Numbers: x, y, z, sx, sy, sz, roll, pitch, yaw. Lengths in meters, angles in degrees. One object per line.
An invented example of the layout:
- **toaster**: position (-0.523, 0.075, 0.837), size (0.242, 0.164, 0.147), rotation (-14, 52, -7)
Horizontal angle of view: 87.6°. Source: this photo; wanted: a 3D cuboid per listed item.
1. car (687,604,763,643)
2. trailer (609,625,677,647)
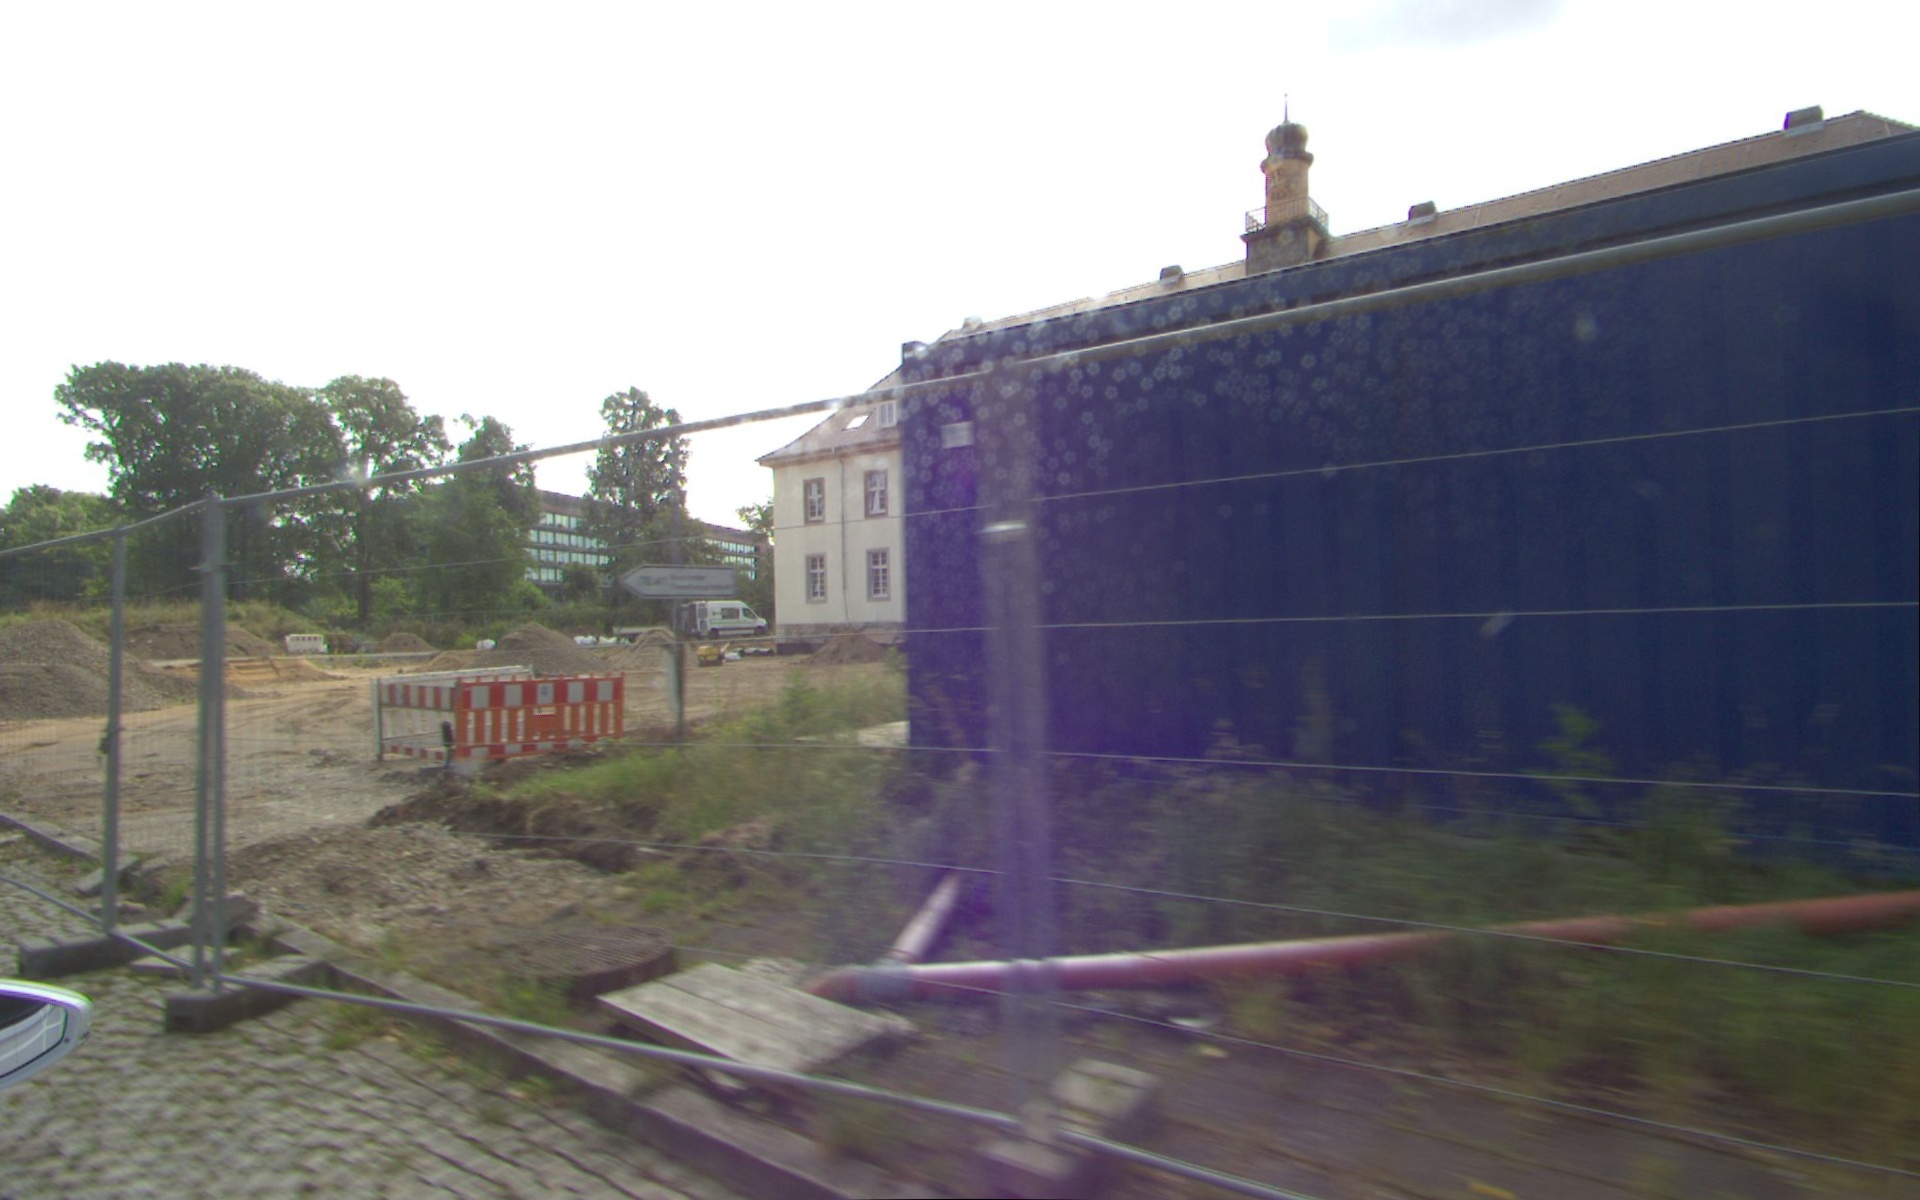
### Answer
- **car**: position (-16.340, 1.637, 69.663), size (4.766, 2.676, 2.038), rotation (0, -2, -41)
- **trailer**: position (-20.952, 2.361, 66.214), size (3.941, 1.371, 2.079), rotation (0, -2, -29)
